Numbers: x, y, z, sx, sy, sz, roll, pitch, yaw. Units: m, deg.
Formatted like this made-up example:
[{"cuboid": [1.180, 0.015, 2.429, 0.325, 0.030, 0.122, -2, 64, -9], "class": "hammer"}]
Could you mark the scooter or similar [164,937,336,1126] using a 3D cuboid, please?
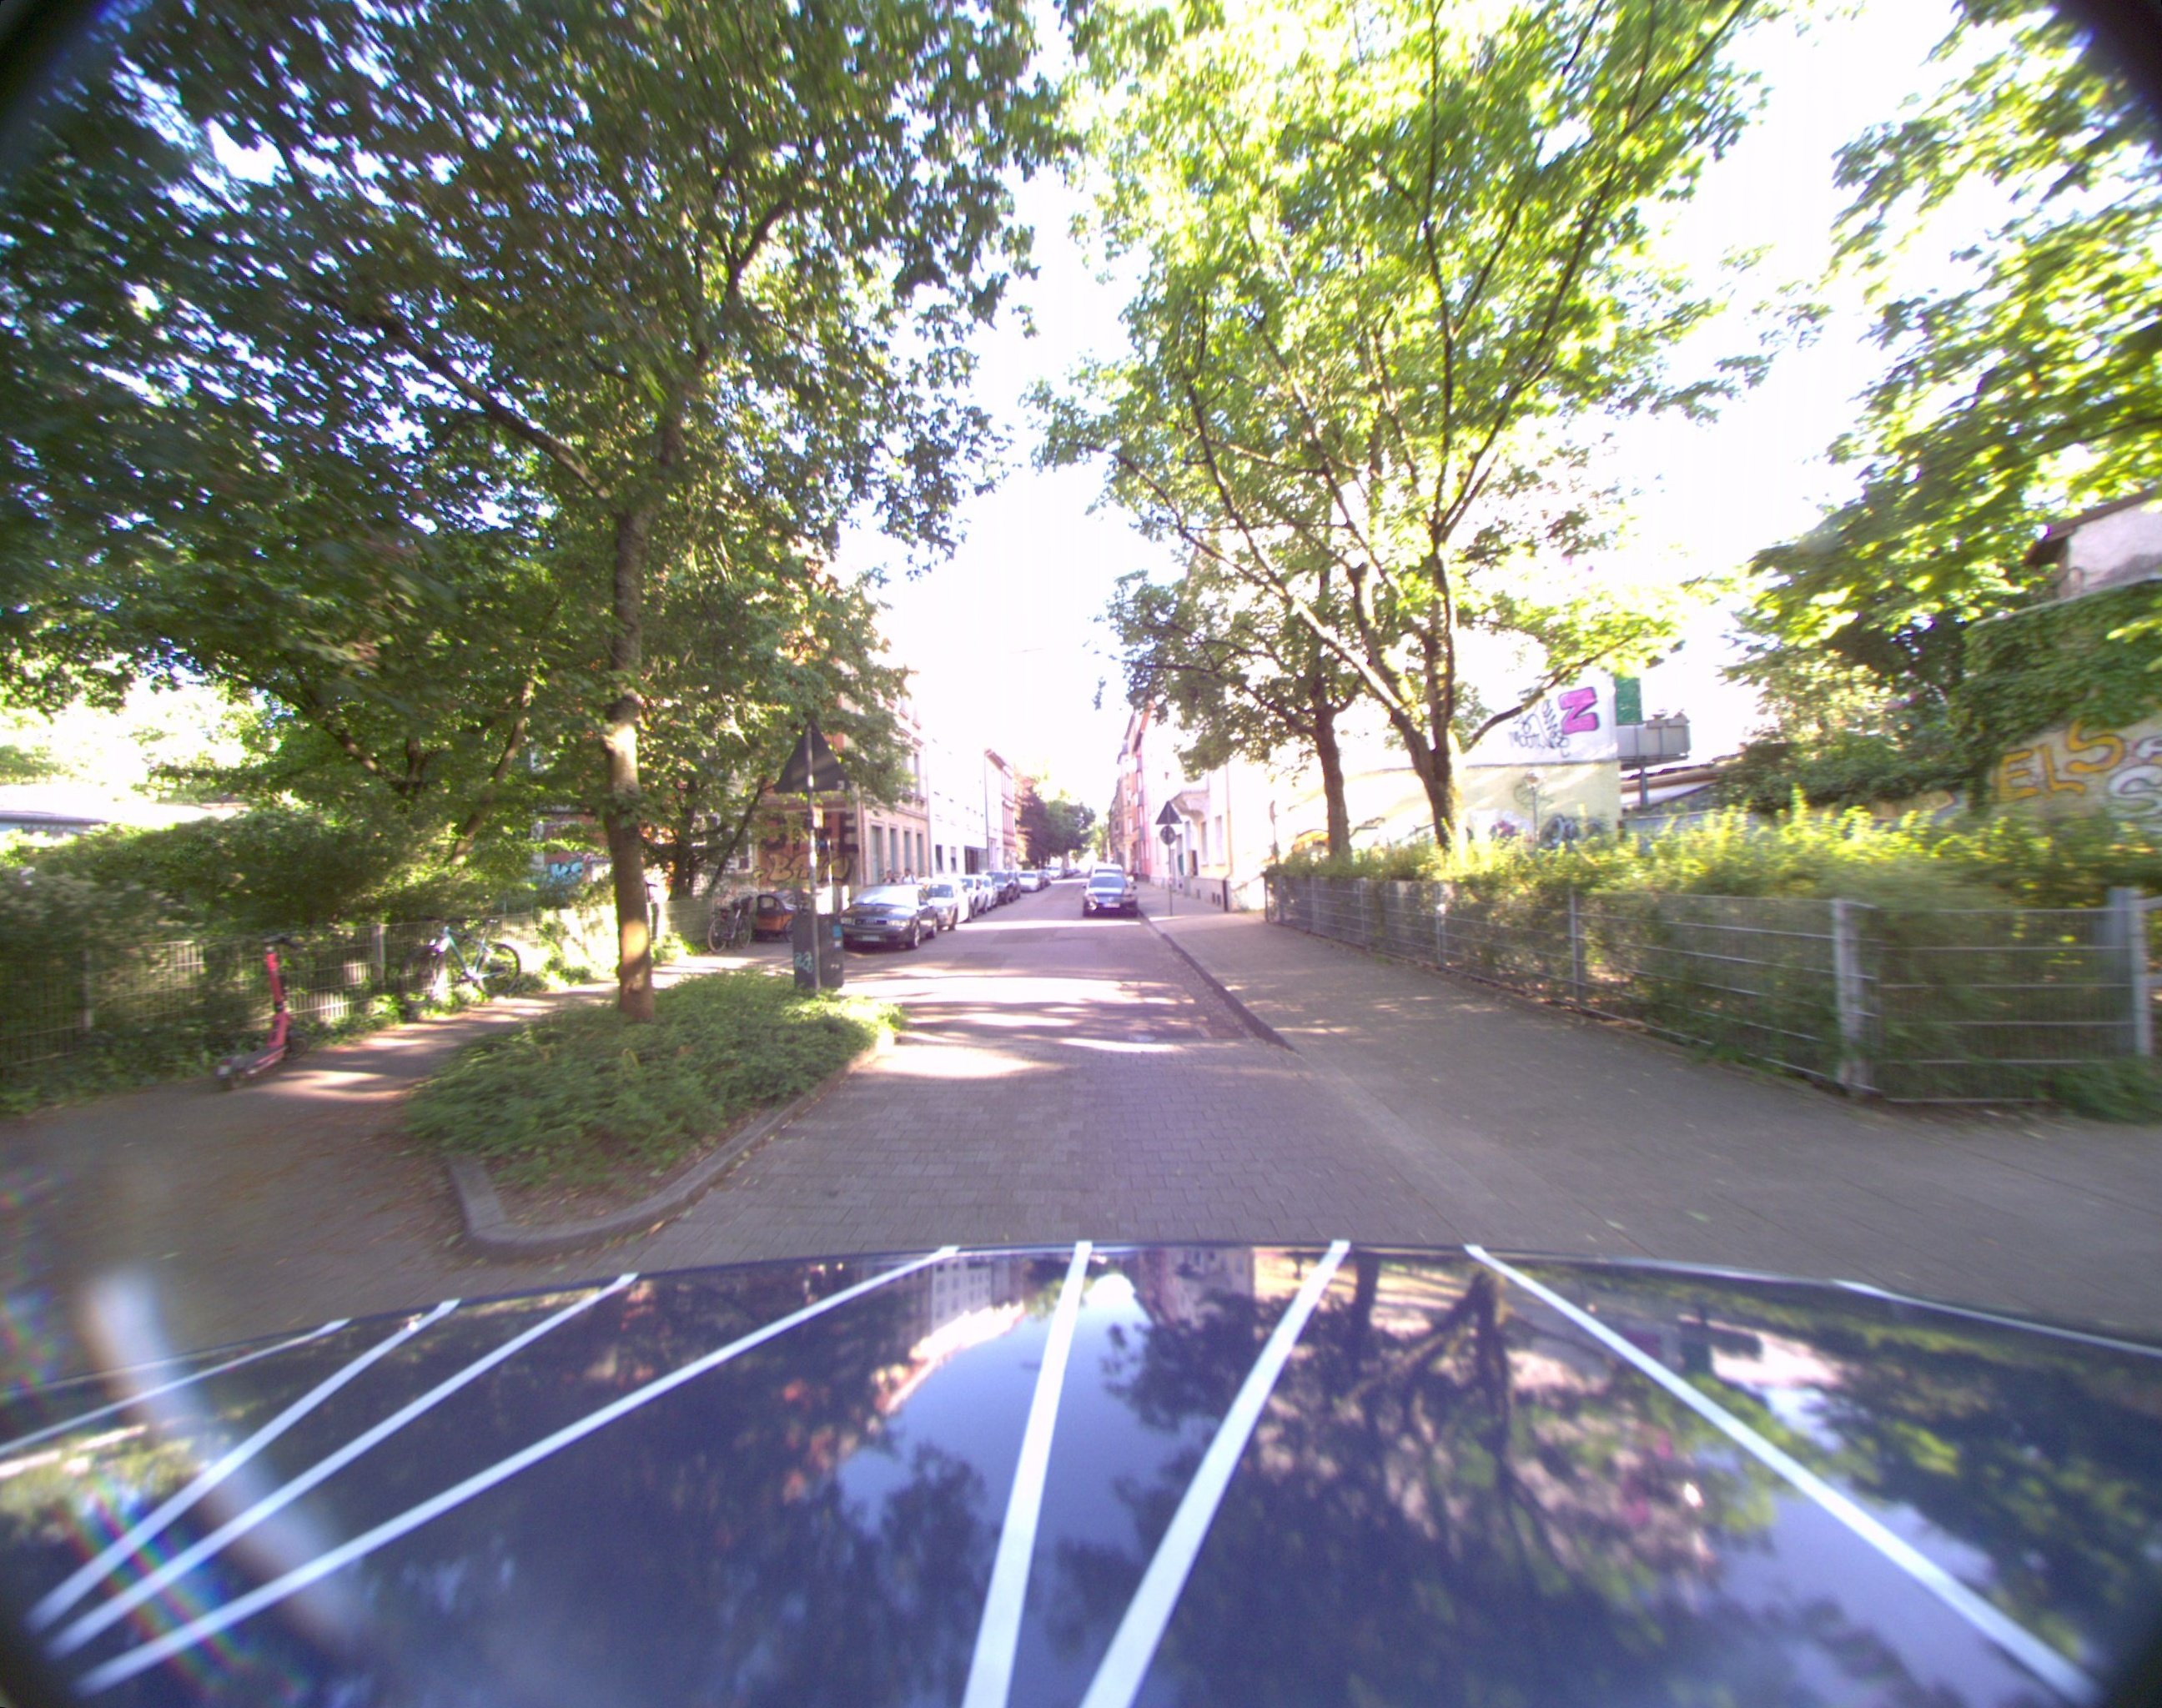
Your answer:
[{"cuboid": [-6.913, 1.400, 6.401, 0.547, 1.254, 1.470, -1, 0, -30], "class": "scooter or similar"}]

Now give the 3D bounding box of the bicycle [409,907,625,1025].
[{"cuboid": [-7.603, 1.443, 10.487, 0.848, 1.260, 2.693, -2, -1, 3], "class": "bicycle"}]

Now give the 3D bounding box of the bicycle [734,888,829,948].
[{"cuboid": [-7.269, 1.518, 18.624, 1.293, 1.294, 2.327, 0, 0, 4], "class": "bicycle"}]

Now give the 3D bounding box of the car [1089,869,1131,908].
[{"cuboid": [1.208, 1.380, 31.323, 1.597, 1.442, 3.486, 1, 0, 3], "class": "car"}]

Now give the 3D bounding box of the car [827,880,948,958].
[{"cuboid": [-4.424, 1.440, 18.040, 1.725, 1.485, 4.414, -1, 0, 0], "class": "car"}]

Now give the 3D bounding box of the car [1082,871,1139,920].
[{"cuboid": [0.965, 1.364, 26.312, 1.783, 1.435, 4.392, 1, 0, 1], "class": "car"}]

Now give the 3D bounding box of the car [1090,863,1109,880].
[{"cuboid": [1.819, 1.710, 74.276, 1.768, 1.524, 4.103, 1, 0, 1], "class": "car"}]

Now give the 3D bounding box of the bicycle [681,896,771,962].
[{"cuboid": [-7.411, 1.541, 15.981, 0.848, 1.193, 1.982, -2, -1, 3], "class": "bicycle"}]

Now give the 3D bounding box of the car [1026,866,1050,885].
[{"cuboid": [-3.620, 1.766, 64.209, 1.768, 1.524, 4.103, 0, 0, 1], "class": "car"}]

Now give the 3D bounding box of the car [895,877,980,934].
[{"cuboid": [-4.279, 1.495, 23.238, 1.663, 1.485, 4.354, -1, 0, 1], "class": "car"}]

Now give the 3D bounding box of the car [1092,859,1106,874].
[{"cuboid": [2.447, 1.684, 103.184, 1.768, 1.846, 3.993, 1, 0, 1], "class": "car"}]

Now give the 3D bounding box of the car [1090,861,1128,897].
[{"cuboid": [1.399, 1.276, 39.661, 1.754, 1.731, 4.315, 1, 0, 0], "class": "car"}]

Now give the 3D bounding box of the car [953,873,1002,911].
[{"cuboid": [-4.354, 1.567, 32.512, 1.597, 1.442, 4.003, -1, 0, -1], "class": "car"}]

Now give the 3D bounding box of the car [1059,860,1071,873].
[{"cuboid": [-2.535, 2.054, 121.927, 1.768, 2.006, 4.264, 1, 0, 1], "class": "car"}]

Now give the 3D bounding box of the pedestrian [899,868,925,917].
[{"cuboid": [-5.941, 1.346, 26.770, 0.712, 1.699, 0.752, 1, 0, 1], "class": "pedestrian"}]

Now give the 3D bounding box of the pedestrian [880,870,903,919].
[{"cuboid": [-6.606, 1.400, 26.478, 0.599, 1.699, 0.706, 1, 0, 1], "class": "pedestrian"}]

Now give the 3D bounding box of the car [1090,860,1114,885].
[{"cuboid": [1.585, 1.420, 59.061, 1.768, 1.814, 4.103, 1, 0, 1], "class": "car"}]

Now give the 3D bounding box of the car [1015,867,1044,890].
[{"cuboid": [-3.689, 1.747, 55.155, 1.768, 1.508, 4.103, 1, 0, 1], "class": "car"}]

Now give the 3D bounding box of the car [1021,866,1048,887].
[{"cuboid": [-3.630, 1.760, 59.742, 1.768, 1.524, 4.103, 0, 0, 1], "class": "car"}]

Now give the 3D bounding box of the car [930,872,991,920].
[{"cuboid": [-4.413, 1.505, 28.275, 1.597, 1.576, 3.764, -1, -1, 1], "class": "car"}]

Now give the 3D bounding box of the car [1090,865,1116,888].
[{"cuboid": [1.538, 1.560, 53.710, 1.768, 1.463, 3.816, 1, 0, 1], "class": "car"}]

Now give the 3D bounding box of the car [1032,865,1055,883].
[{"cuboid": [-3.393, 1.806, 69.357, 1.768, 1.524, 4.103, 1, 0, 1], "class": "car"}]

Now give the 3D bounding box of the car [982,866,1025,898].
[{"cuboid": [-4.272, 1.510, 42.587, 1.886, 1.657, 4.328, 1, 0, 1], "class": "car"}]

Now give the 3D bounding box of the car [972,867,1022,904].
[{"cuboid": [-4.078, 1.505, 37.419, 1.770, 1.657, 4.329, -1, -1, 3], "class": "car"}]

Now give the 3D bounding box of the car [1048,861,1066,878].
[{"cuboid": [-3.014, 1.948, 96.672, 1.865, 1.970, 4.482, 1, 0, 4], "class": "car"}]
